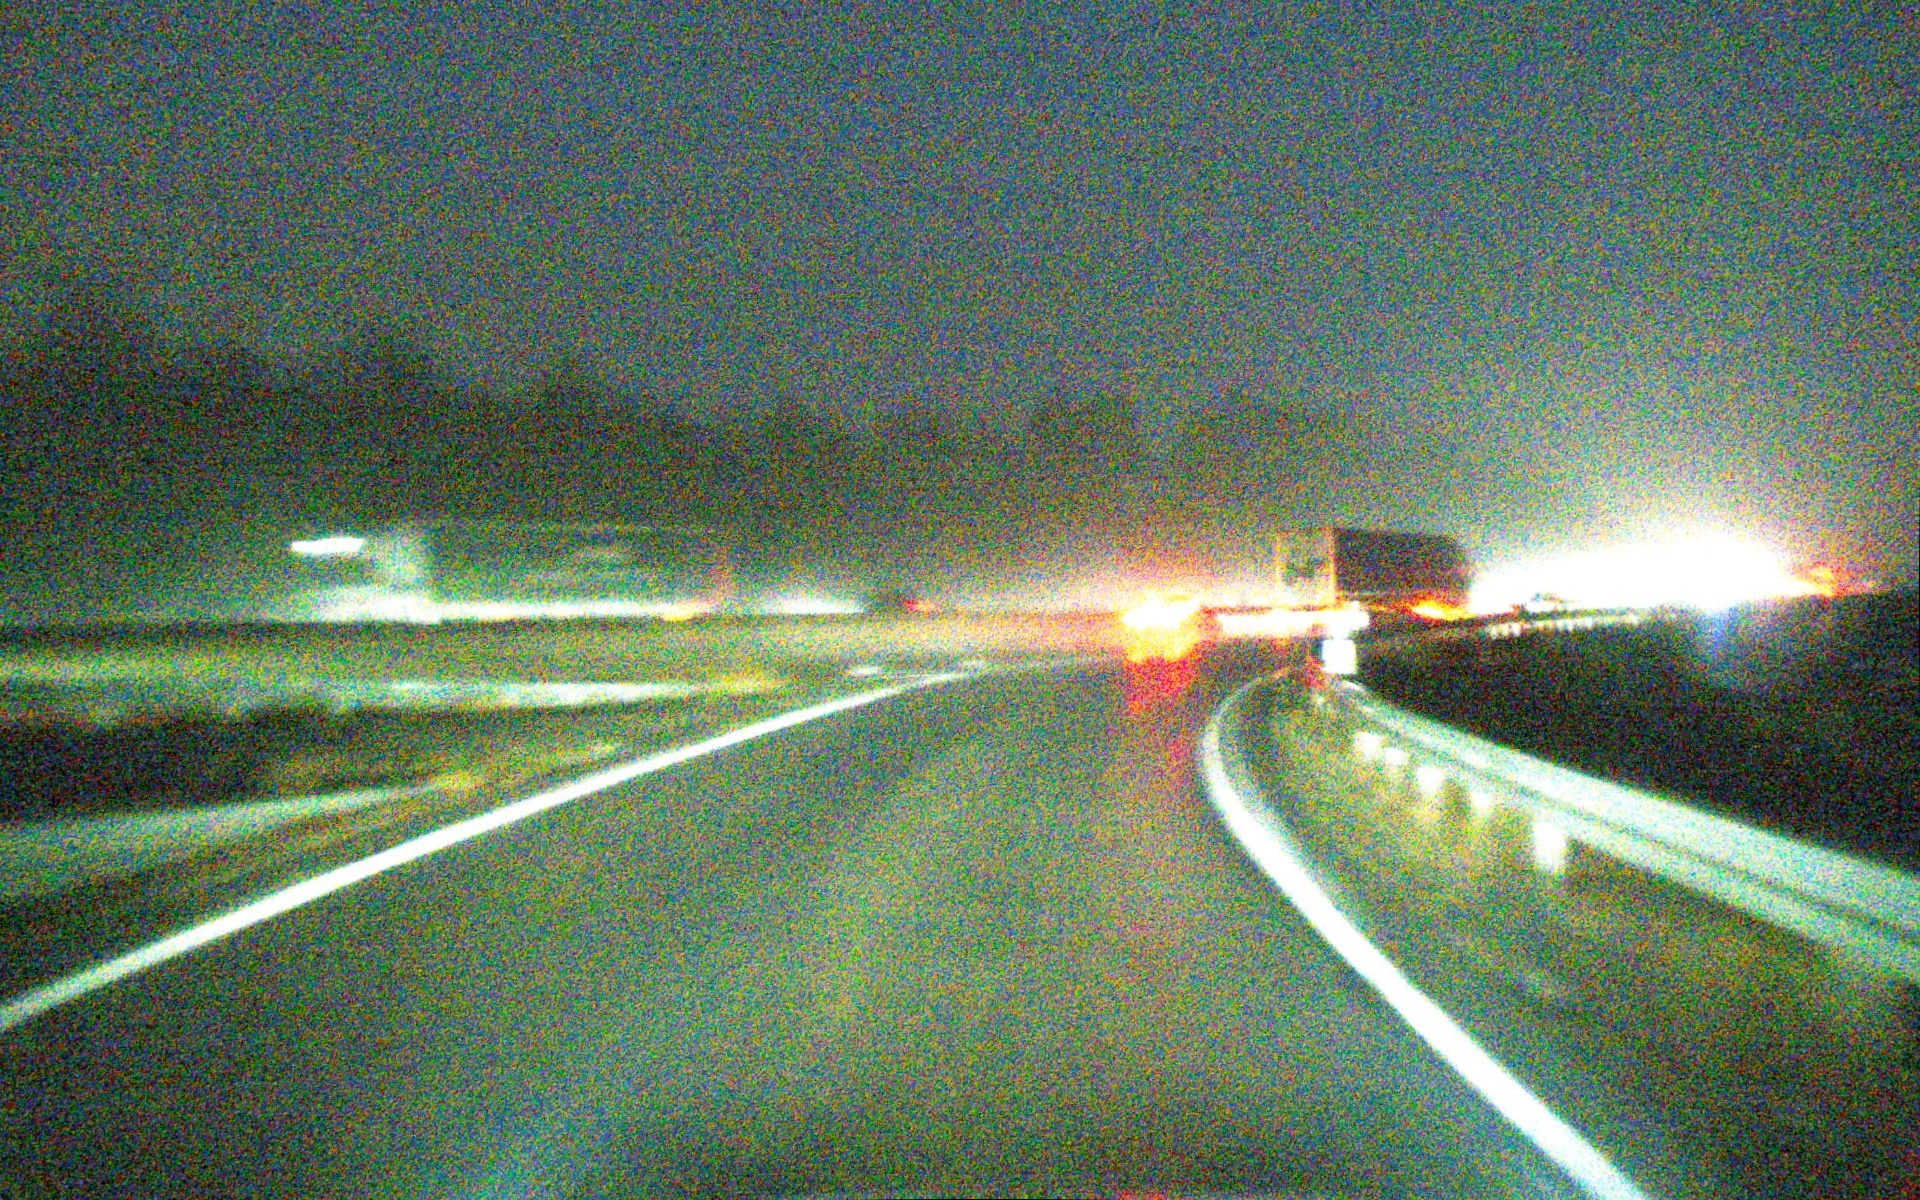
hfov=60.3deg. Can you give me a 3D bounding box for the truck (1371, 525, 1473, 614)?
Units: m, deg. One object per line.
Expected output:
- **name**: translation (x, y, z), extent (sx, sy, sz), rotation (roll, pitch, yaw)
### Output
- **truck**: translation (20.606, -1.324, 73.617), extent (2.545, 3.775, 5.438), rotation (2, 1, 36)

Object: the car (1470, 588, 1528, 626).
- **car**: translation (31.019, 0.390, 95.166), extent (1.961, 2.049, 3.983), rotation (2, 1, 37)

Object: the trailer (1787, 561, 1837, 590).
- **trailer**: translation (87.191, -2.501, 169.126), extent (2.642, 2.746, 12.807), rotation (2, 1, 36)

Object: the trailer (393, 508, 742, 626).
- **trailer**: translation (-13.691, -1.096, 59.813), extent (2.608, 3.796, 13.888), rotation (2, 1, 36)

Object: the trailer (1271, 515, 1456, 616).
- **trailer**: translation (16.989, -1.320, 68.528), extent (2.548, 3.790, 13.602), rotation (2, 1, 35)

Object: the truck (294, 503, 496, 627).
- **truck**: translation (-18.225, -1.110, 53.602), extent (2.609, 3.796, 5.681), rotation (2, 1, 36)

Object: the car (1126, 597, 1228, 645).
- **car**: translation (8.074, 0.756, 61.328), extent (1.963, 1.646, 3.980), rotation (2, 1, 39)

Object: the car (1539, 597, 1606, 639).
- **car**: translation (28.994, 0.825, 78.290), extent (1.960, 1.850, 3.985), rotation (2, 1, 36)
